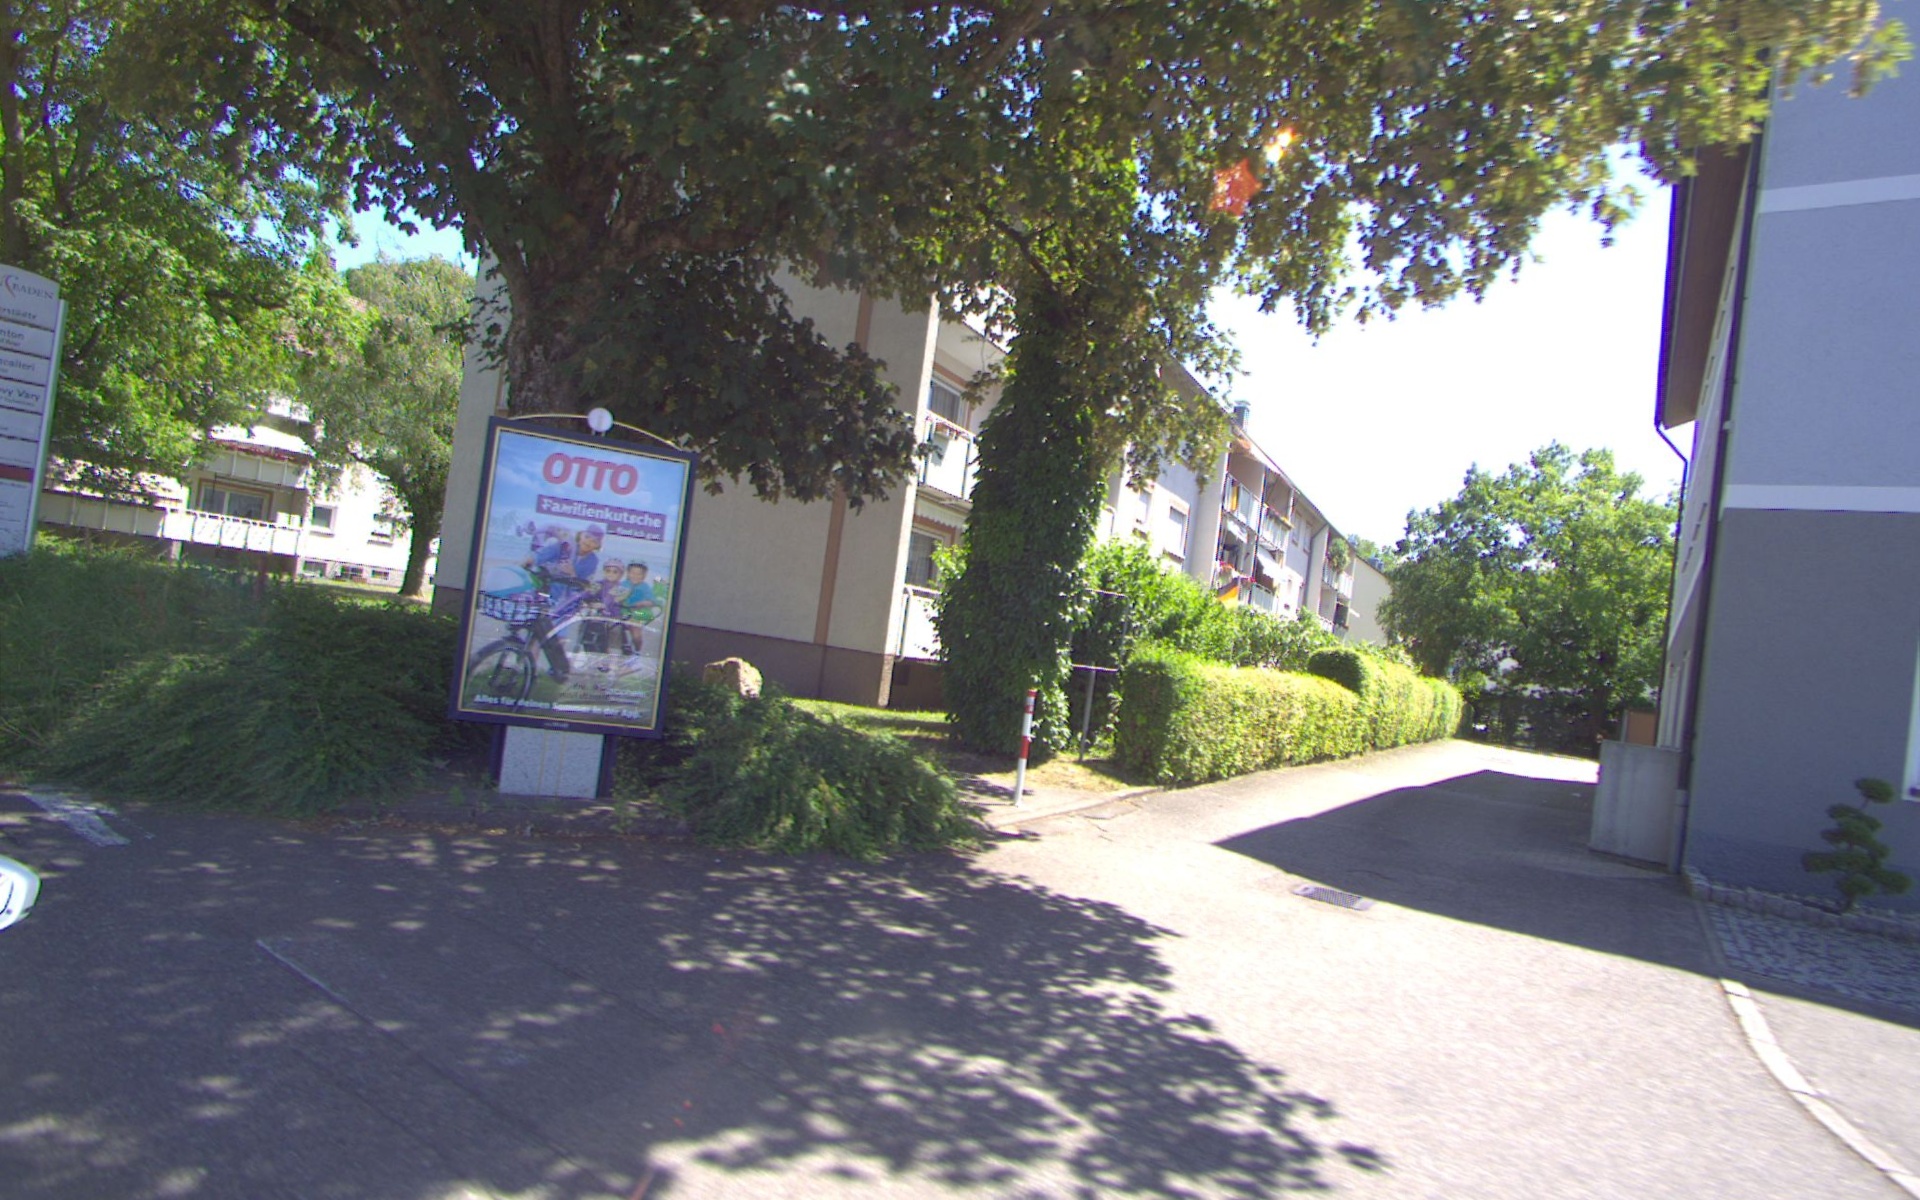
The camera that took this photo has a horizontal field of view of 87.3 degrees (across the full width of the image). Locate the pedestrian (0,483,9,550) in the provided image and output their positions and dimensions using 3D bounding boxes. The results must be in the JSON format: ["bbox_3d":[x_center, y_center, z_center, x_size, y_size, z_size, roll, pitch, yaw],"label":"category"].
[{"bbox_3d":[-21.760,-1.689,22.288,0.650,1.937,0.704,6,-1,35],"label":"pedestrian"}]
